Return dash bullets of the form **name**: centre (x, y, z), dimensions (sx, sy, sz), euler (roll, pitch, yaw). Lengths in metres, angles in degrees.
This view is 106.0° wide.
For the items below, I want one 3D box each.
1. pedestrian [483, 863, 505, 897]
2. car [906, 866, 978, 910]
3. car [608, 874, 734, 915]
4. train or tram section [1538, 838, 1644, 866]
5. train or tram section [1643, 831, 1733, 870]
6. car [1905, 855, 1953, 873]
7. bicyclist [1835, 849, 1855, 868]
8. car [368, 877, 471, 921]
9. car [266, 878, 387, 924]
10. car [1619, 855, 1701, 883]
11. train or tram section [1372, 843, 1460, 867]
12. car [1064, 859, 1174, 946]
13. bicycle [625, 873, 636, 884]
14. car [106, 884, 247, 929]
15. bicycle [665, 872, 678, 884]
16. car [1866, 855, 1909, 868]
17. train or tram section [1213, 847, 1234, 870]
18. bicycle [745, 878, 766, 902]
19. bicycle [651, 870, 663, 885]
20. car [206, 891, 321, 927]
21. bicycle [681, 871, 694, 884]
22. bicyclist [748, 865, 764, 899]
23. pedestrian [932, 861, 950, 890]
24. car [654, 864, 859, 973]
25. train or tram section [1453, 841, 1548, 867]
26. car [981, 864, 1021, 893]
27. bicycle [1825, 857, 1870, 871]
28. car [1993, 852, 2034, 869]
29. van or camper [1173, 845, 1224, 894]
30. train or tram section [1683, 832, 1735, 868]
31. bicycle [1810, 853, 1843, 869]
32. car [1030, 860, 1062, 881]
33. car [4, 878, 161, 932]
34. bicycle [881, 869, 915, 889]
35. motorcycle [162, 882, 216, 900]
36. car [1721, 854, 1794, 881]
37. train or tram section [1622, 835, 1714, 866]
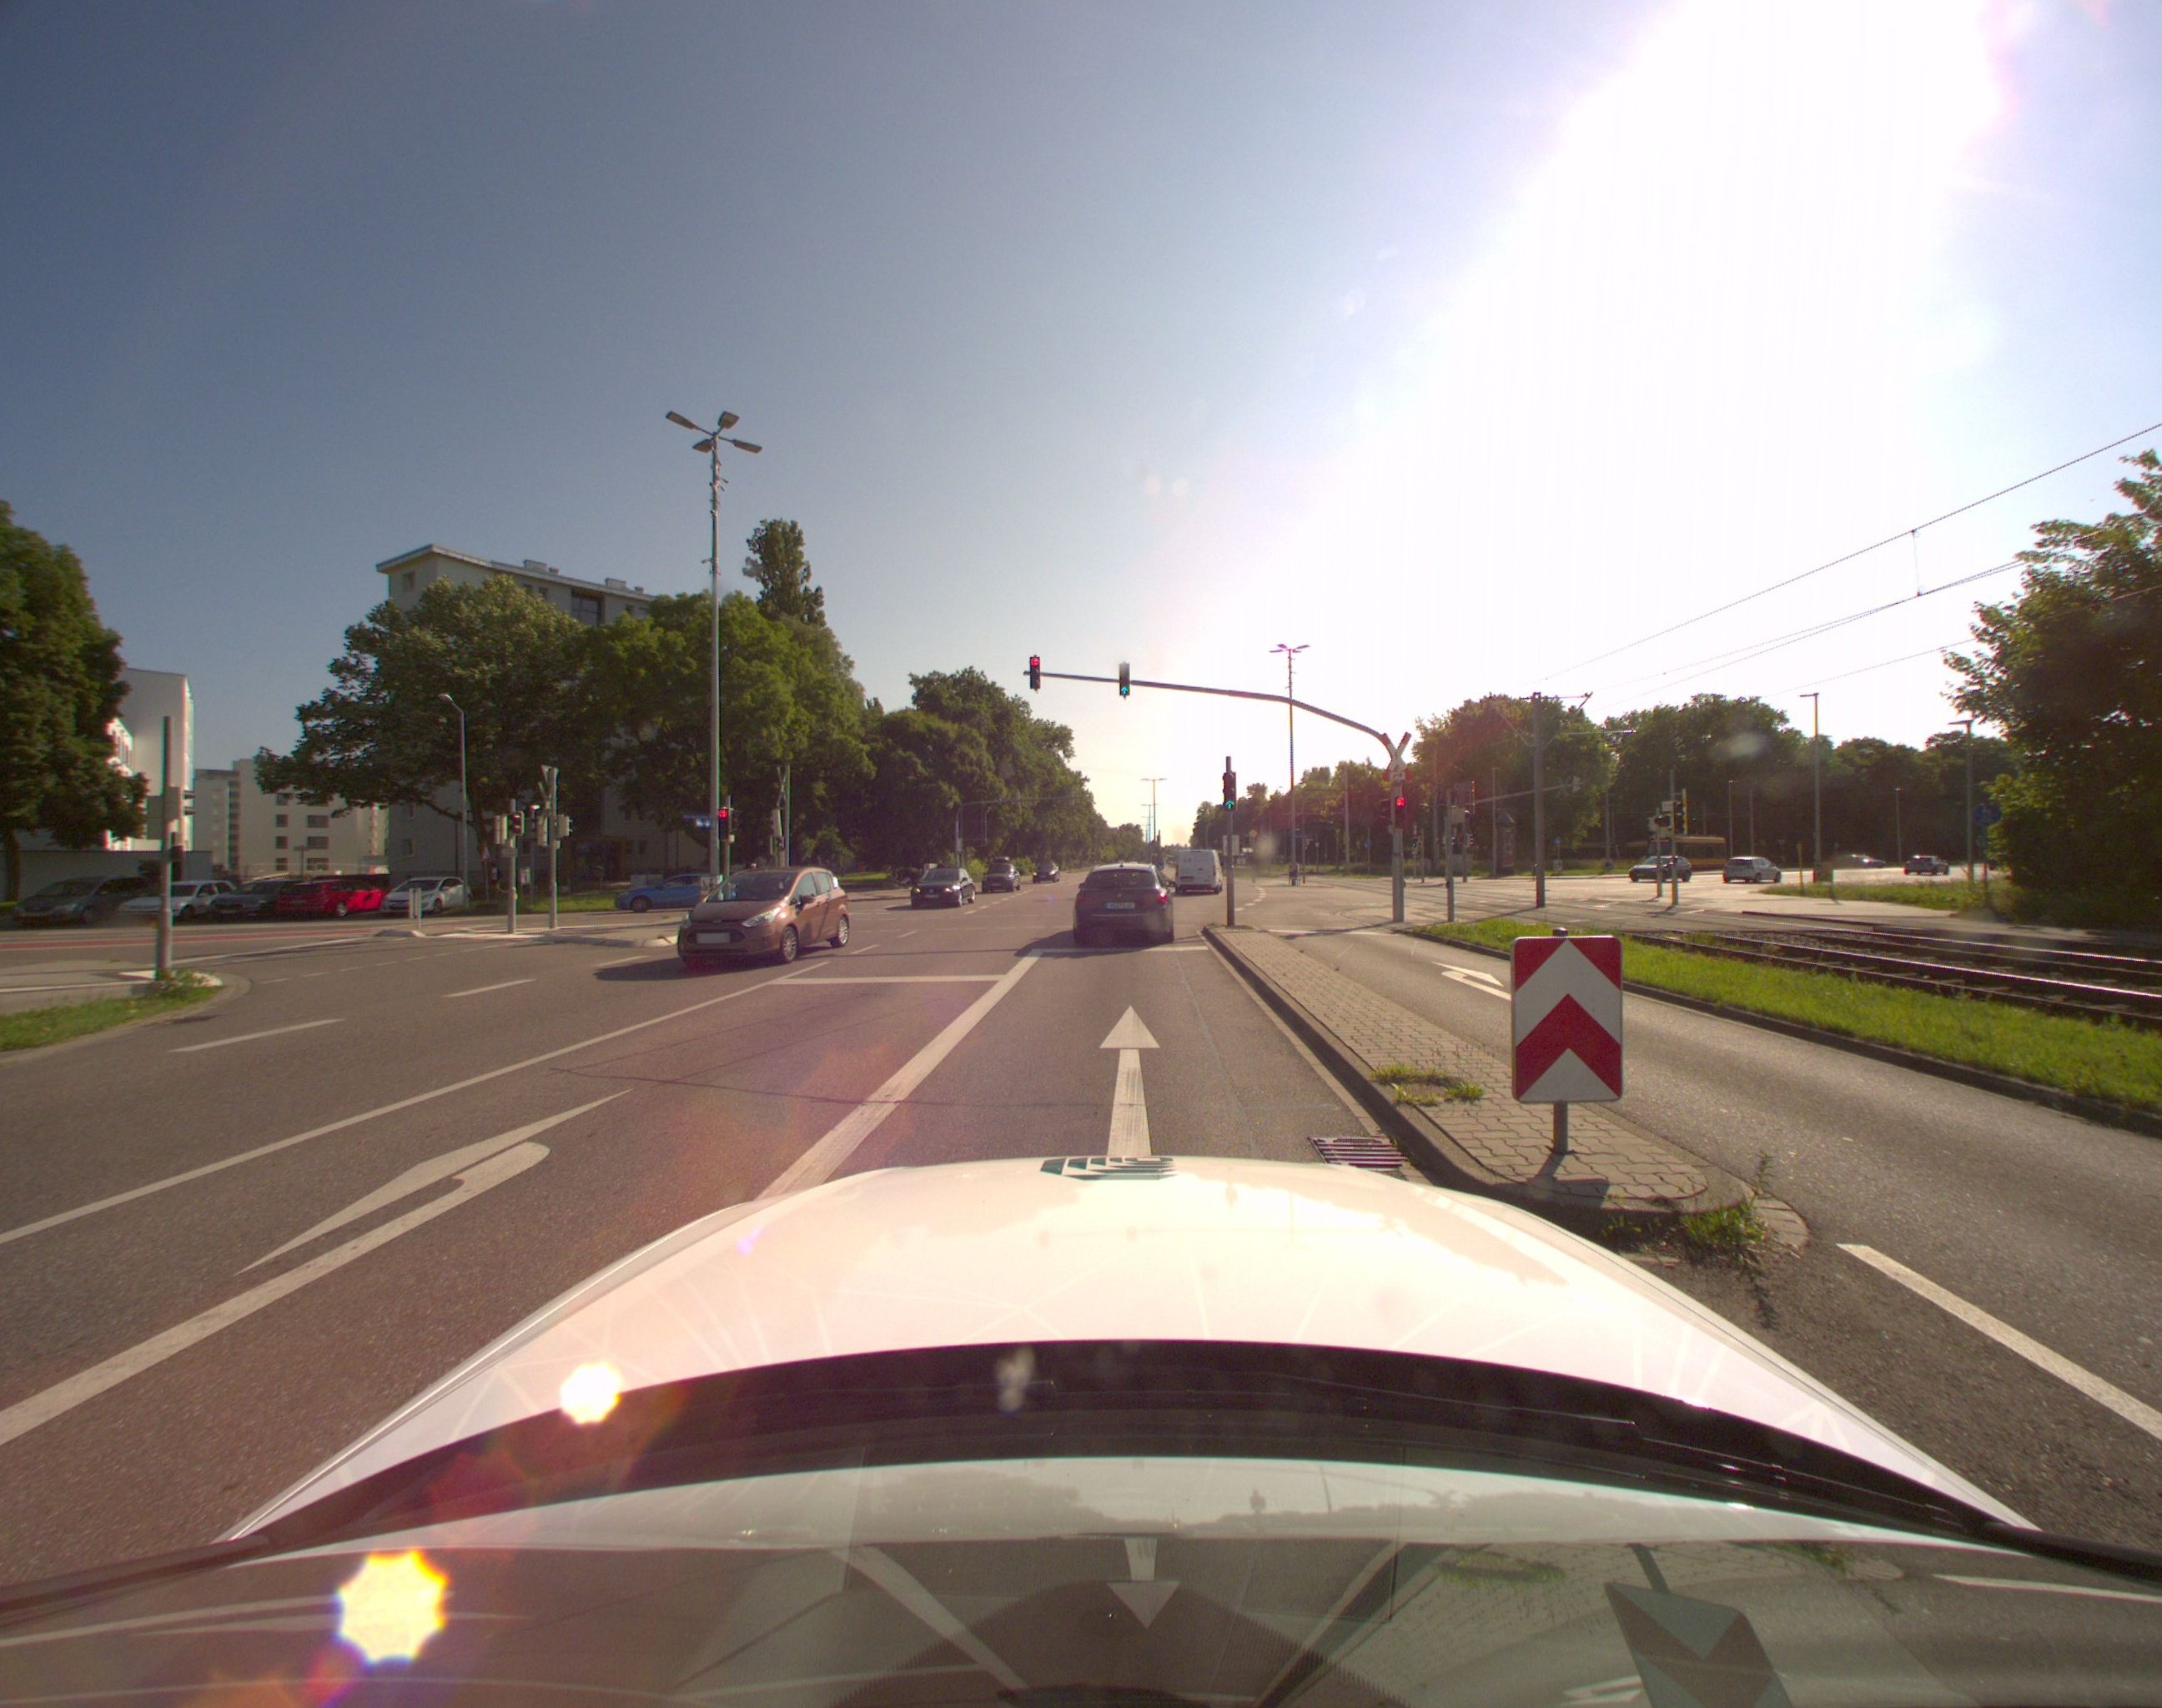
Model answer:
- **pedestrian**: centre (-30.500, 1.351, 42.320), dimensions (0.619, 1.713, 0.707), euler (-1, -1, 15)
- **car**: centre (-5.095, 1.205, 30.449), dimensions (1.882, 1.474, 4.100), euler (-1, -1, 1)
- **car**: centre (-15.815, 1.530, 31.606), dimensions (4.253, 1.415, 1.770), euler (0, -1, -26)
- **train or tram section**: centre (68.840, -0.151, 110.462), dimensions (3.064, 3.580, 12.110), euler (0, -1, -31)
- **train or tram section**: centre (58.841, -0.363, 78.806), dimensions (11.895, 3.580, 3.022), euler (0, -1, -33)
- **car**: centre (65.185, 0.775, 62.593), dimensions (3.537, 1.384, 1.592), euler (0, -1, -27)
- **bicyclist**: centre (79.709, 0.466, 84.960), dimensions (1.140, 2.014, 1.091), euler (1, -1, -20)
- **car**: centre (-27.490, 1.825, 34.024), dimensions (1.782, 1.439, 3.981), euler (-1, 2, -14)
- **car**: centre (-30.481, 1.840, 33.075), dimensions (1.781, 1.415, 3.983), euler (0, 3, -13)
- **car**: centre (36.086, 0.889, 50.708), dimensions (4.870, 1.563, 2.027), euler (-1, 0, -25)
- **train or tram section**: centre (52.136, 0.187, 126.994), dimensions (12.278, 3.580, 3.073), euler (-1, -1, 34)
- **car**: centre (0.861, 0.865, 16.214), dimensions (1.894, 1.506, 4.071), euler (-1, -1, 6)
- **bicycle**: centre (-33.542, 1.815, 60.615), dimensions (0.587, 0.708, 2.216), euler (0, 0, -32)
- **car**: centre (-35.072, 1.991, 31.743), dimensions (1.783, 1.521, 3.978), euler (-1, -1, -16)
- **bicycle**: centre (-31.153, 1.803, 61.985), dimensions (0.678, 0.875, 2.460), euler (0, -1, -32)
- **car**: centre (83.403, 0.781, 84.211), dimensions (4.314, 1.335, 1.735), euler (0, -1, -25)
- **train or tram section**: centre (24.184, 0.851, 138.842), dimensions (2.781, 3.618, 12.978), euler (0, -1, 7)
- **bicycle**: centre (-15.200, 1.682, 38.088), dimensions (0.620, 1.040, 2.062), euler (-1, -1, -13)
- **bicycle**: centre (-31.906, 1.778, 61.282), dimensions (0.615, 1.066, 1.897), euler (1, -3, -34)
- **car**: centre (-32.423, 2.142, 32.435), dimensions (1.462, 1.193, 3.768), euler (-1, -1, -14)
- **bicycle**: centre (-30.233, 1.797, 62.560), dimensions (0.673, 0.919, 2.382), euler (0, -1, -32)
- **bicyclist**: centre (-15.223, 1.315, 38.181), dimensions (0.608, 1.560, 0.600), euler (-1, -1, -13)
- **pedestrian**: centre (-8.482, 1.310, 49.265), dimensions (0.811, 1.752, 0.933), euler (-1, -1, 8)
- **car**: centre (-5.454, 0.997, 14.317), dimensions (1.738, 1.562, 4.004), euler (-2, -1, 3)
- **train or tram section**: centre (61.643, 0.024, 119.958), dimensions (12.072, 3.580, 3.073), euler (-1, -1, 39)
- **car**: centre (-4.485, 1.342, 46.064), dimensions (1.782, 1.520, 4.000), euler (-1, -1, 1)
- **bicycle**: centre (79.773, 1.049, 84.793), dimensions (1.131, 1.454, 3.208), euler (1, -1, -19)
- **car**: centre (81.905, 0.597, 71.529), dimensions (3.537, 1.383, 1.592), euler (-1, -1, -27)
- **van or camper**: centre (5.523, 0.700, 37.885), dimensions (1.980, 2.096, 4.613), euler (-1, -1, 12)
- **train or tram section**: centre (67.271, -0.349, 87.492), dimensions (3.015, 3.579, 12.307), euler (-1, -1, 32)
- **bicycle**: centre (83.681, 0.782, 91.434), dimensions (0.798, 1.713, 2.586), euler (0, -1, -33)
- **car**: centre (-2.881, 1.354, 68.231), dimensions (1.979, 1.659, 4.393), euler (-2, -1, 7)
- **car**: centre (-37.728, 1.853, 30.949), dimensions (1.783, 1.811, 3.978), euler (-1, -1, -16)
- **bicycle**: centre (-11.037, 1.509, 49.126), dimensions (1.901, 1.119, 0.632), euler (-1, -1, 2)
- **motorcycle**: centre (-51.700, 2.149, 47.220), dimensions (0.520, 0.965, 2.057), euler (-1, -1, 37)
- **car**: centre (41.441, 0.828, 49.858), dimensions (4.211, 1.563, 1.840), euler (0, -1, -25)
- **train or tram section**: centre (70.995, -0.343, 98.921), dimensions (3.030, 3.579, 12.243), euler (-1, -1, 4)
